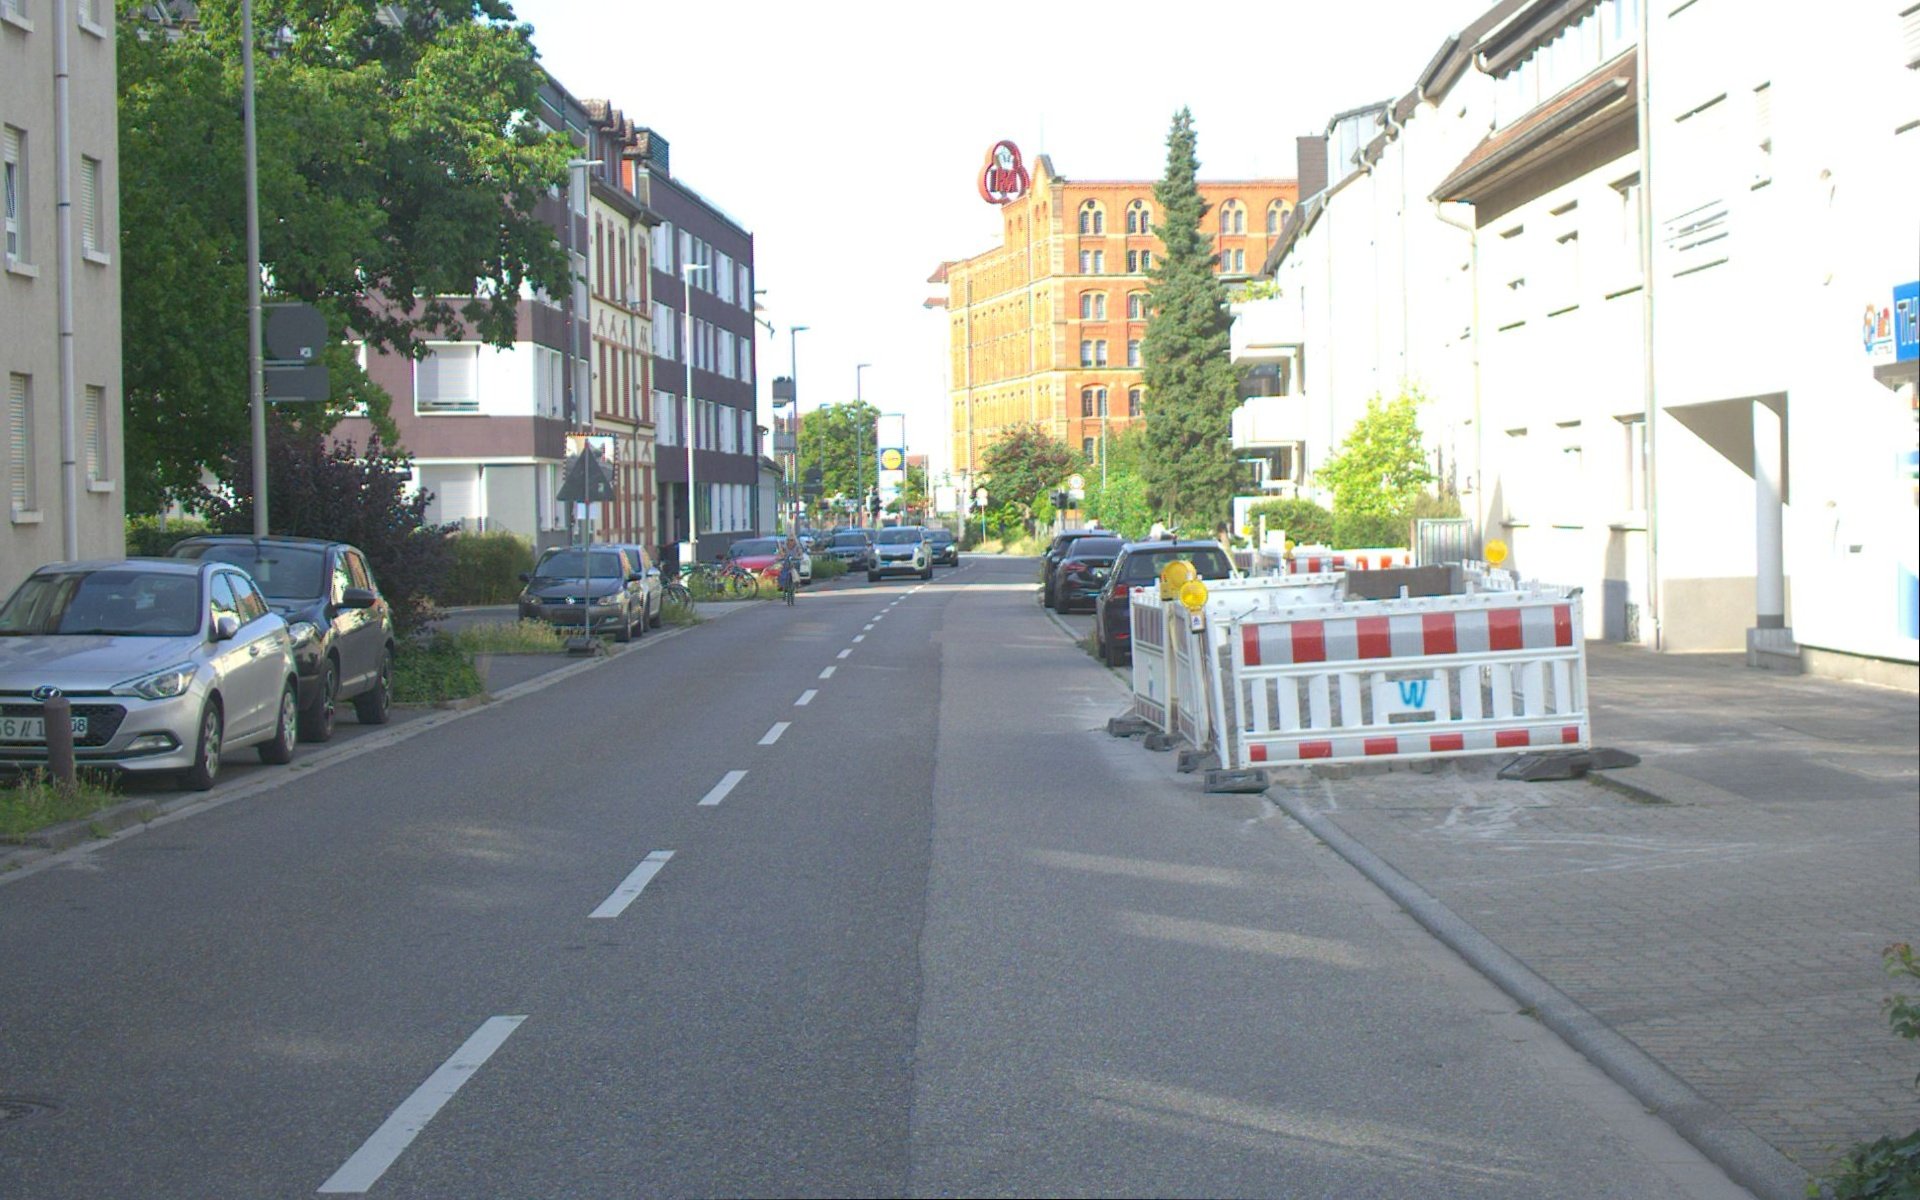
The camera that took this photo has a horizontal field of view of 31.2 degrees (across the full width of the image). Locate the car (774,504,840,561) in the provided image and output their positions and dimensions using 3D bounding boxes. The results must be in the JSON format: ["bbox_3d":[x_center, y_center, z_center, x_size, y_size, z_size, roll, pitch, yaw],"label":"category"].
[{"bbox_3d":[-5.218,-2.328,117.591,1.993,1.875,4.000,-1,1,1],"label":"car"}]

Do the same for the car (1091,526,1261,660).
[{"bbox_3d":[2.559,-0.121,41.558,1.830,1.477,3.943,-2,1,1],"label":"car"}]

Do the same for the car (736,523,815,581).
[{"bbox_3d":[-4.875,-1.296,91.131,1.840,1.459,3.585,-1,1,1],"label":"car"}]

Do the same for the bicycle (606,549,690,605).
[{"bbox_3d":[-6.014,-0.442,66.276,1.584,1.037,0.708,-1,1,-5],"label":"bicycle"}]

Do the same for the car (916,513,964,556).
[{"bbox_3d":[-0.770,-2.563,133.595,1.763,1.610,4.000,-2,1,0],"label":"car"}]

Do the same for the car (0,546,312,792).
[{"bbox_3d":[-5.542,0.388,23.037,1.686,1.449,4.141,0,1,-1],"label":"car"}]

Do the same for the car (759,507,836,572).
[{"bbox_3d":[-4.810,-1.800,101.982,1.993,1.829,3.689,-1,1,1],"label":"car"}]

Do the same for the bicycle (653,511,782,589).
[{"bbox_3d":[-5.744,-1.193,81.508,2.918,1.771,1.202,-1,1,1],"label":"bicycle"}]

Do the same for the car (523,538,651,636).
[{"bbox_3d":[-5.709,-0.223,52.890,1.573,1.415,3.804,0,1,0],"label":"car"}]

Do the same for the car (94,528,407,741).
[{"bbox_3d":[-5.722,0.216,28.232,1.686,1.597,4.370,0,1,0],"label":"car"}]

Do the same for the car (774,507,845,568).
[{"bbox_3d":[-4.845,-2.027,111.177,1.993,1.901,4.000,-1,1,1],"label":"car"}]

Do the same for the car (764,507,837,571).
[{"bbox_3d":[-4.942,-1.907,107.101,1.993,1.905,3.689,-1,1,1],"label":"car"}]

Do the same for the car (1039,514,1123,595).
[{"bbox_3d":[2.485,-0.963,71.205,1.601,1.640,3.685,0,1,0],"label":"car"}]

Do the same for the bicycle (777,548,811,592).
[{"bbox_3d":[-3.683,-0.665,76.399,0.608,0.939,1.811,-1,1,1],"label":"bicycle"}]

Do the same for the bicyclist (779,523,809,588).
[{"bbox_3d":[-3.688,-0.996,76.434,0.591,1.437,0.750,-1,1,1],"label":"bicyclist"}]

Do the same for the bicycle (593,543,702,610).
[{"bbox_3d":[-5.879,-0.447,64.684,2.000,1.213,0.708,-1,1,-5],"label":"bicycle"}]

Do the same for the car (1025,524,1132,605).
[{"bbox_3d":[2.242,-0.708,65.944,1.859,1.467,4.000,-1,1,0],"label":"car"}]

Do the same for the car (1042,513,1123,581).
[{"bbox_3d":[2.947,-1.302,83.235,1.763,1.521,4.000,-2,1,0],"label":"car"}]

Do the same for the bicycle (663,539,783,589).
[{"bbox_3d":[-5.727,-0.874,83.288,2.773,1.140,1.143,-1,1,1],"label":"bicycle"}]

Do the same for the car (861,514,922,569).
[{"bbox_3d":[-2.091,-1.804,105.509,1.763,1.610,4.000,-2,1,0],"label":"car"}]

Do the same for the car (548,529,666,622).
[{"bbox_3d":[-5.971,-0.450,58.543,1.676,1.496,4.001,-1,1,-1],"label":"car"}]
